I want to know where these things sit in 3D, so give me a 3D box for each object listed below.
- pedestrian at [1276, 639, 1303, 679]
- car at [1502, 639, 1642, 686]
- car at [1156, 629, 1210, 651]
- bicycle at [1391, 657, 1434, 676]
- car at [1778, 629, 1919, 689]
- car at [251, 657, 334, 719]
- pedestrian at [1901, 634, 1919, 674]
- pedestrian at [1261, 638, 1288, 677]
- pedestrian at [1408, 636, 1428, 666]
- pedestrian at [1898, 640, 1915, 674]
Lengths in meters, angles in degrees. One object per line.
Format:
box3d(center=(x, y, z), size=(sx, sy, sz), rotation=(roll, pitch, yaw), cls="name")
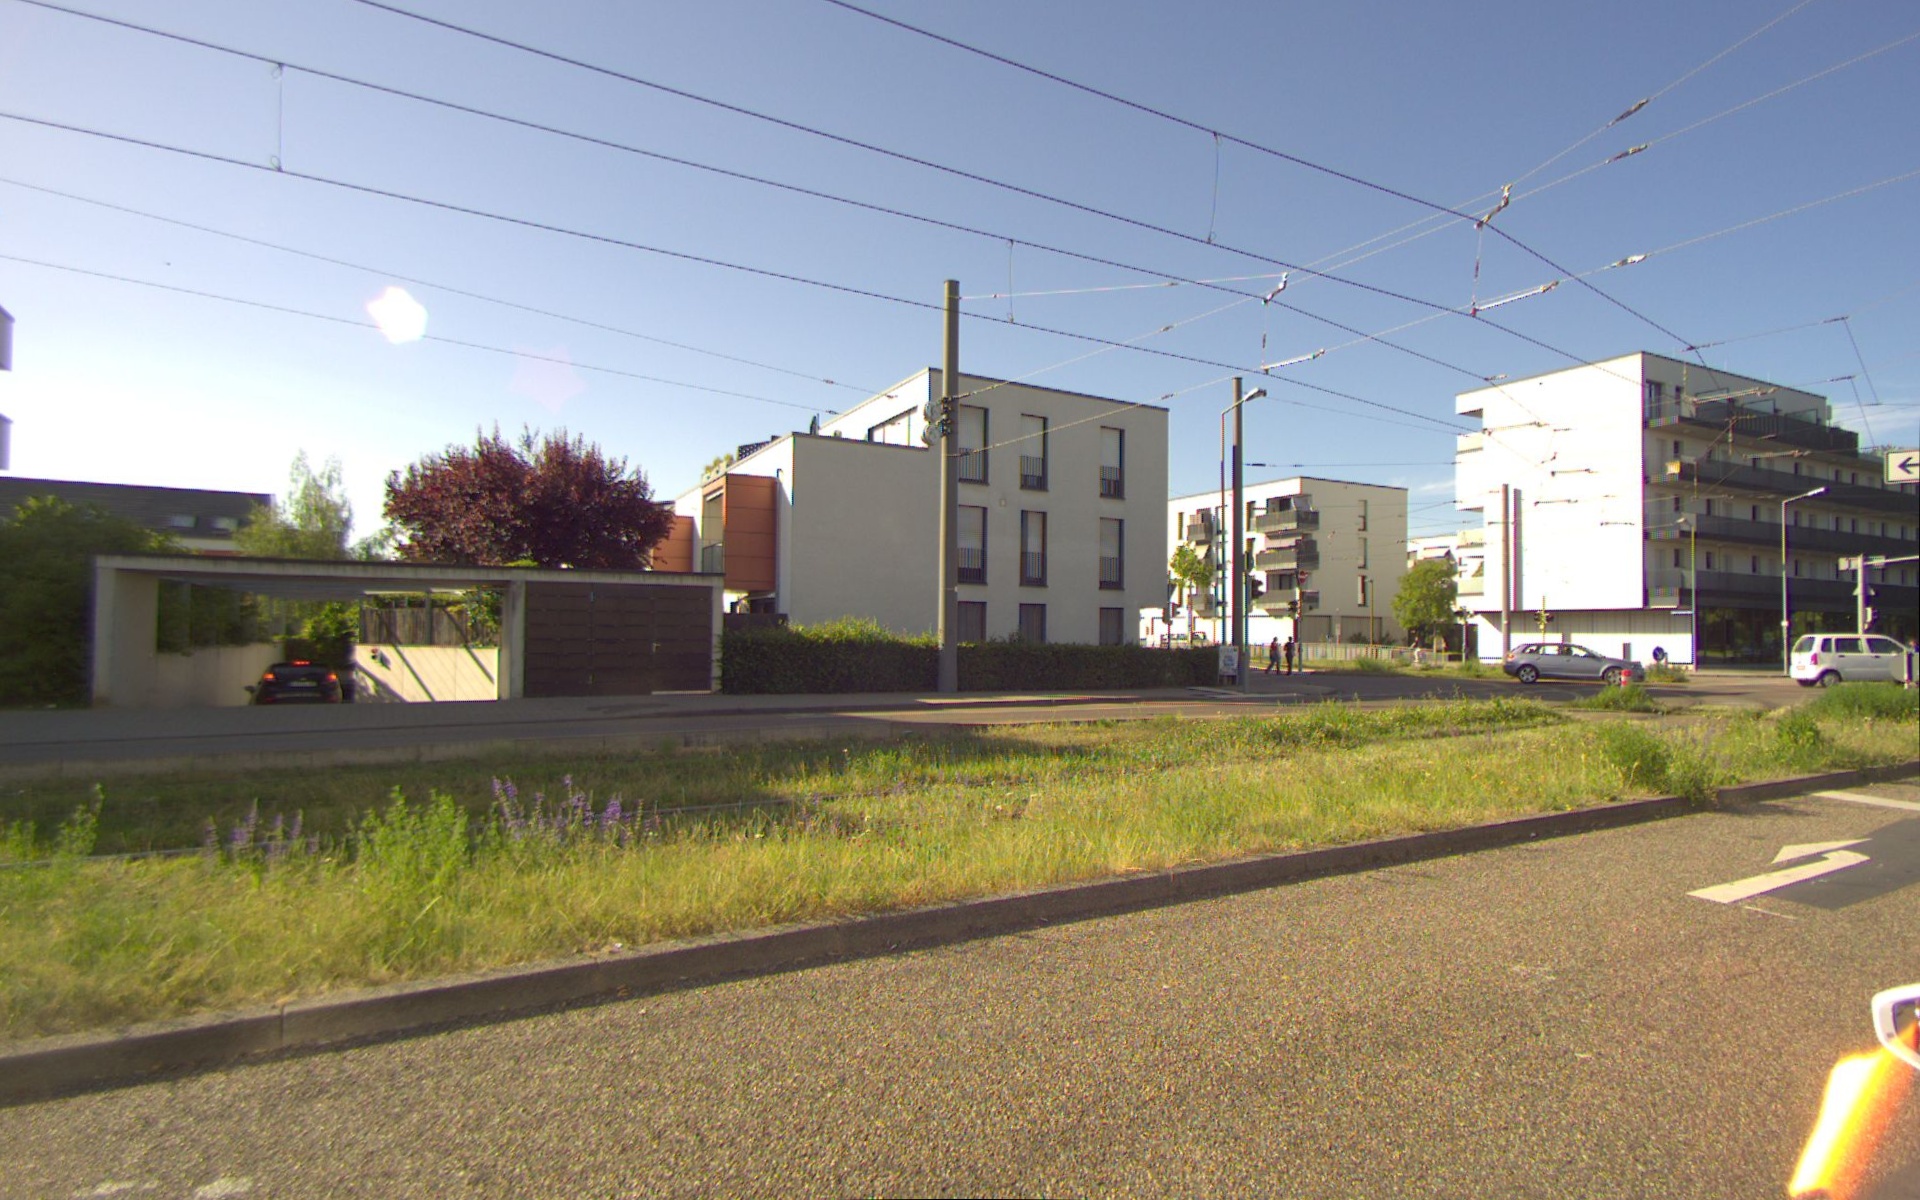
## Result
box3d(center=(14.127, 2.519, 43.036), size=(0.735, 1.626, 0.766), rotation=(2, 0, -34), cls="pedestrian")
box3d(center=(21.179, 2.120, 34.835), size=(4.041, 1.505, 1.865), rotation=(-1, -2, 34), cls="car")
box3d(center=(17.782, 3.181, 80.302), size=(1.974, 1.595, 4.309), rotation=(2, 0, -27), cls="car")
box3d(center=(26.377, 3.876, 58.586), size=(0.633, 1.015, 2.399), rotation=(1, -2, -29), cls="bicycle")
box3d(center=(27.801, 1.775, 30.936), size=(3.615, 1.743, 1.869), rotation=(0, -1, 22), cls="car")
box3d(center=(-16.406, 2.203, 24.719), size=(1.560, 1.344, 3.966), rotation=(2, -7, -33), cls="car")
box3d(center=(43.225, 2.459, 45.659), size=(0.513, 1.767, 0.539), rotation=(2, 0, -35), cls="pedestrian")
box3d(center=(13.737, 2.511, 43.873), size=(0.735, 1.626, 0.766), rotation=(2, 0, -34), cls="pedestrian")
box3d(center=(26.566, 2.944, 58.264), size=(0.613, 1.714, 0.809), rotation=(1, -2, -29), cls="pedestrian")
box3d(center=(42.782, 2.579, 45.395), size=(0.513, 1.523, 0.438), rotation=(2, 0, -35), cls="pedestrian")
